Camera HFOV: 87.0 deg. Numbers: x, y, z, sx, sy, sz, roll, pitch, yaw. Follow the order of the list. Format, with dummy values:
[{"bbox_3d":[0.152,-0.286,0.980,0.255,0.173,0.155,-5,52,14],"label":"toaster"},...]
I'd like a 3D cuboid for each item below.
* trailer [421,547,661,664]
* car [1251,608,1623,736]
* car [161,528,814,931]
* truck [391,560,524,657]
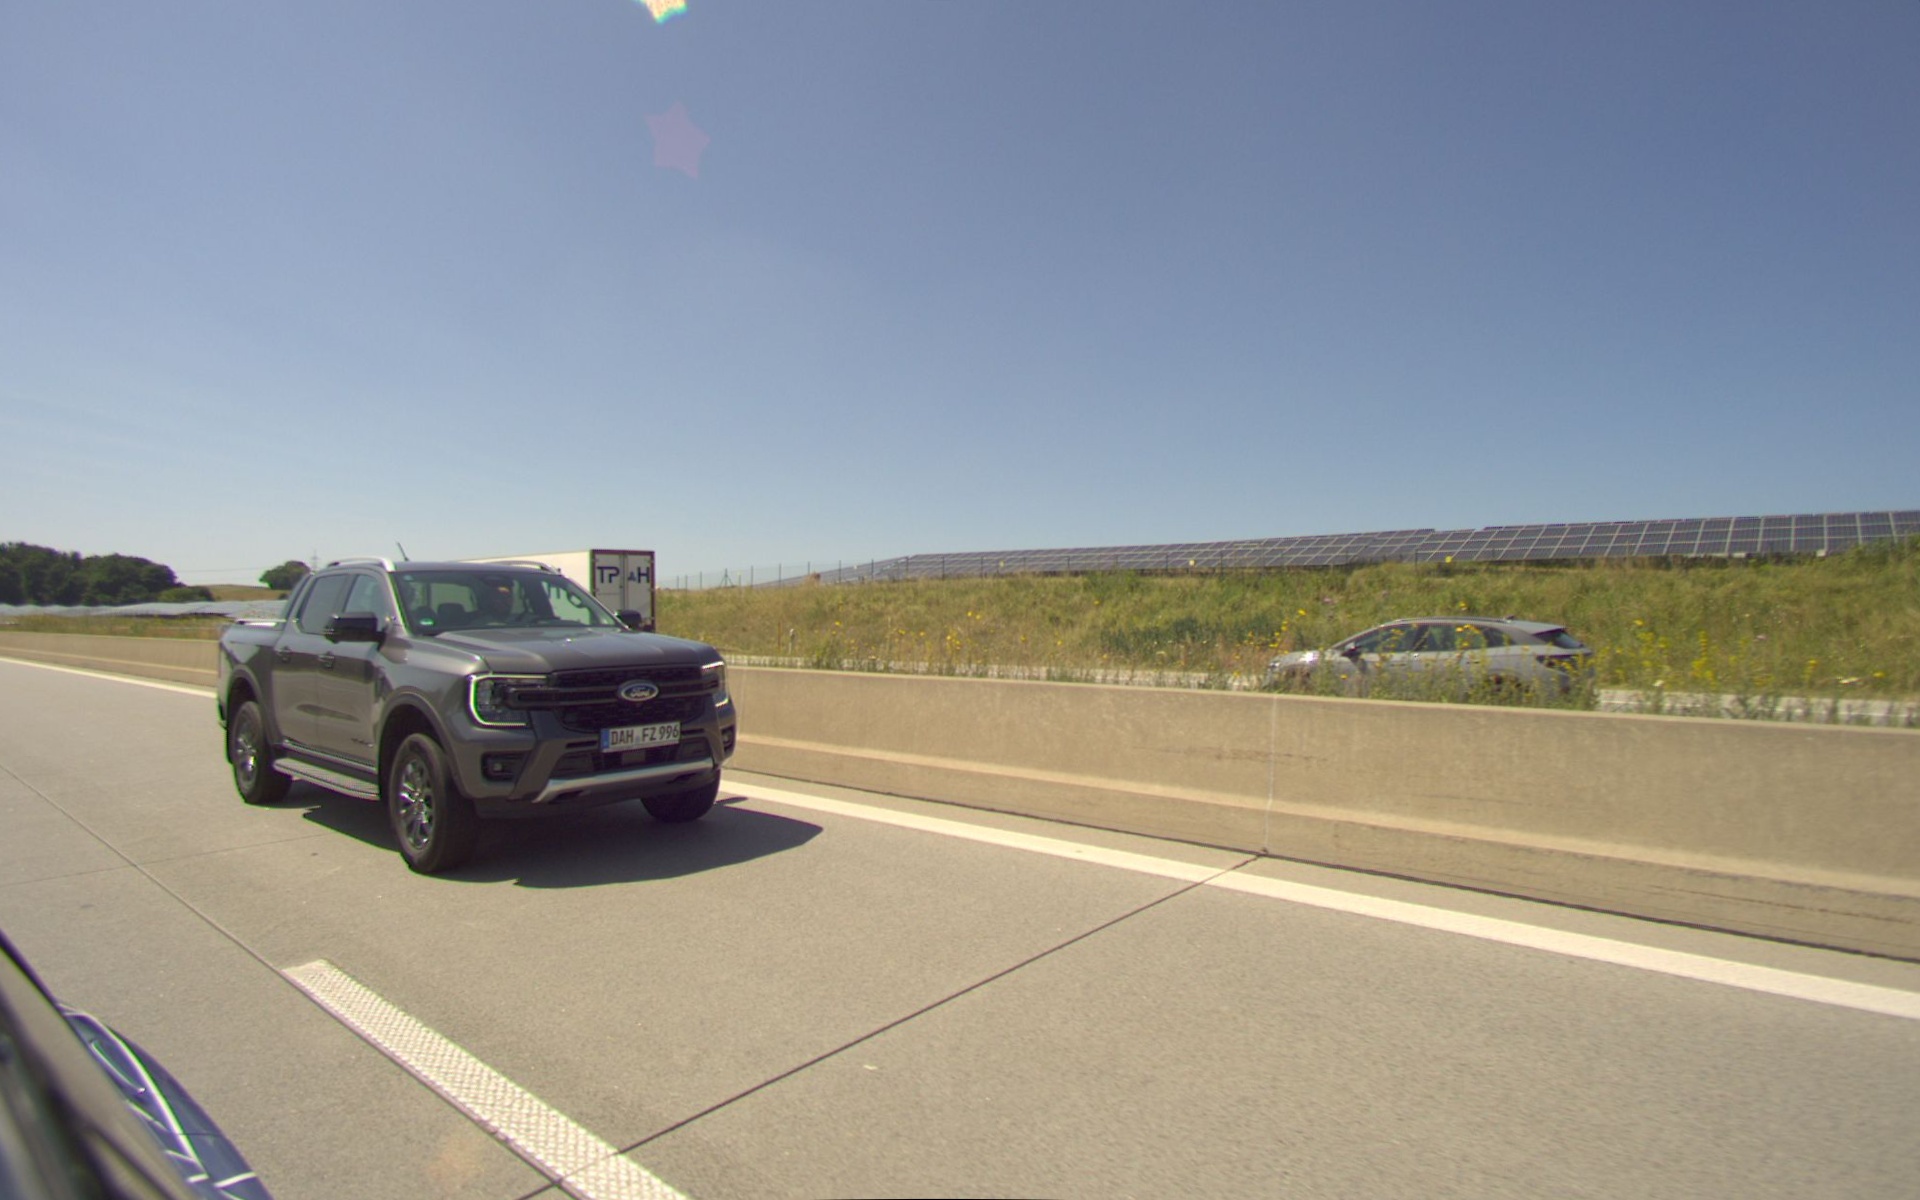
[{"bbox_3d":[-17.402,0.319,41.072,14.168,4.091,2.974,-1,-1,41],"label":"trailer"},{"bbox_3d":[6.831,0.940,14.838,4.642,1.597,1.708,-1,-1,41],"label":"car"},{"bbox_3d":[-3.993,0.628,7.581,6.526,1.860,1.973,-1,0,41],"label":"car"},{"bbox_3d":[-22.797,0.426,45.736,6.865,4.091,2.960,-1,-1,41],"label":"truck"}]
